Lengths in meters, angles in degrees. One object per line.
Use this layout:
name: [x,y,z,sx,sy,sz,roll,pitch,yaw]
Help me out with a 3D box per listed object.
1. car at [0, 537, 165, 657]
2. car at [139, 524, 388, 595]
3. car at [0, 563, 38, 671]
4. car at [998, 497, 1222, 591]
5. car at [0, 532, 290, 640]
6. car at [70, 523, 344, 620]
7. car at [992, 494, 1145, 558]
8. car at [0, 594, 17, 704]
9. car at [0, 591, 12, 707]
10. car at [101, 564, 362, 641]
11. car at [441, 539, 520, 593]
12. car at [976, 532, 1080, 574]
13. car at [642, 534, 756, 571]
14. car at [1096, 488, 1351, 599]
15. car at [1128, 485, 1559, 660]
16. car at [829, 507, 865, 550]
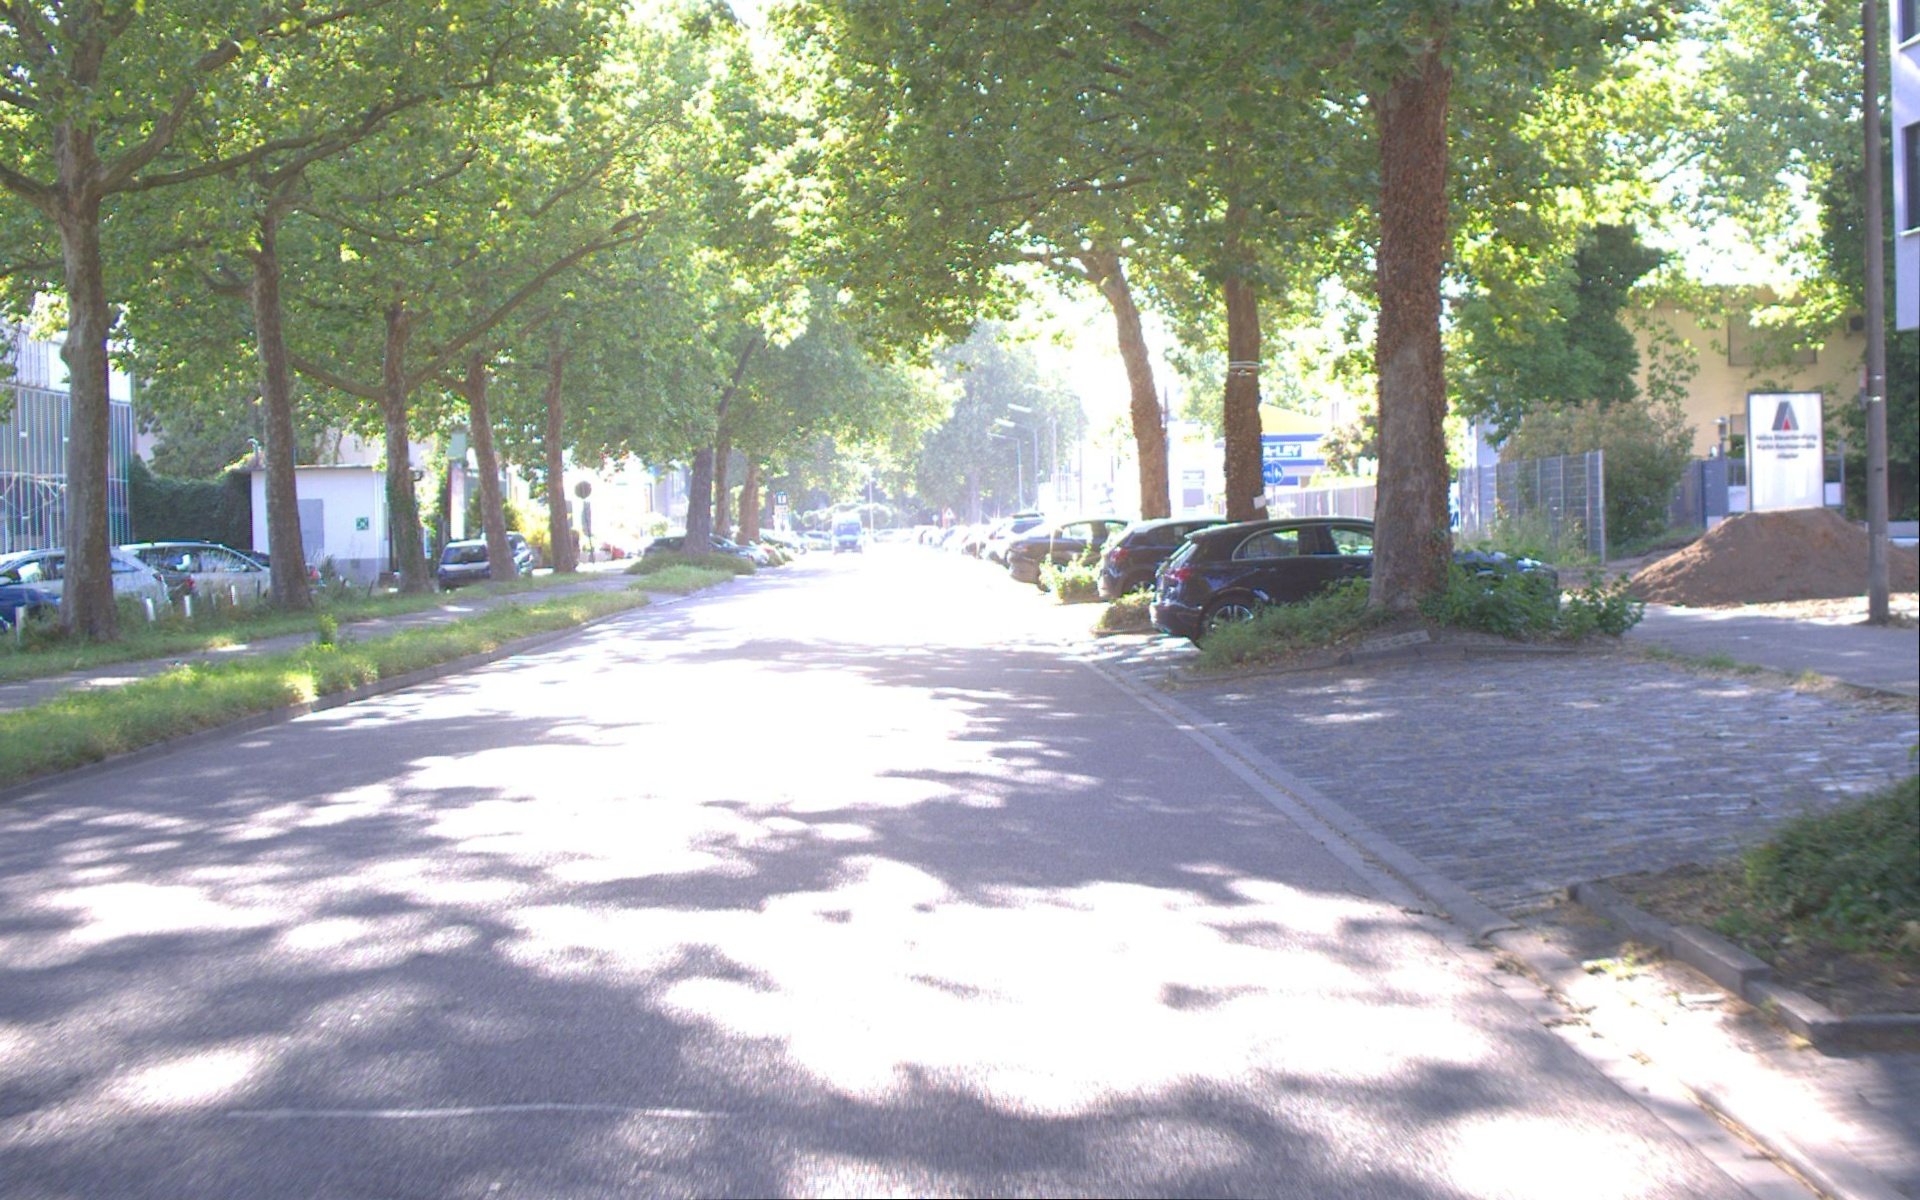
car: [-13.912,-0.053,49.842,1.998,1.693,4.252,1,1,43]
car: [-13.972,-0.824,69.095,4.472,1.301,1.999,-2,2,-42]
car: [-14.716,0.227,45.832,4.250,1.447,1.999,0,1,-39]
car: [3.230,-1.215,74.695,4.569,1.709,1.944,-4,1,-4]
car: [-12.834,-0.233,53.845,1.998,1.624,4.252,1,1,42]
car: [-13.769,-0.526,62.938,4.471,1.725,1.999,0,1,-38]
car: [3.423,-2.346,109.292,4.624,1.706,2.000,-4,1,-2]
car: [-14.175,0.616,42.819,4.250,1.377,1.999,0,1,-39]
car: [-14.224,0.613,42.750,4.250,1.447,1.999,0,1,-39]
car: [-13.909,0.024,65.793,4.472,1.301,1.999,-2,2,-42]
car: [-13.909,-1.000,99.858,1.993,1.365,3.921,-5,1,-5]
car: [3.083,-2.136,156.298,4.601,1.574,2.000,-4,0,1]
car: [-10.799,-1.987,142.600,4.599,1.417,2.000,-1,2,-1]
car: [4.200,-0.905,55.187,3.784,1.481,1.861,-4,1,-2]
car: [4.089,-0.304,37.149,4.283,1.481,1.861,-5,1,-2]
car: [-7.137,-4.552,217.850,2.127,2.650,7.002,-2,2,-1]
